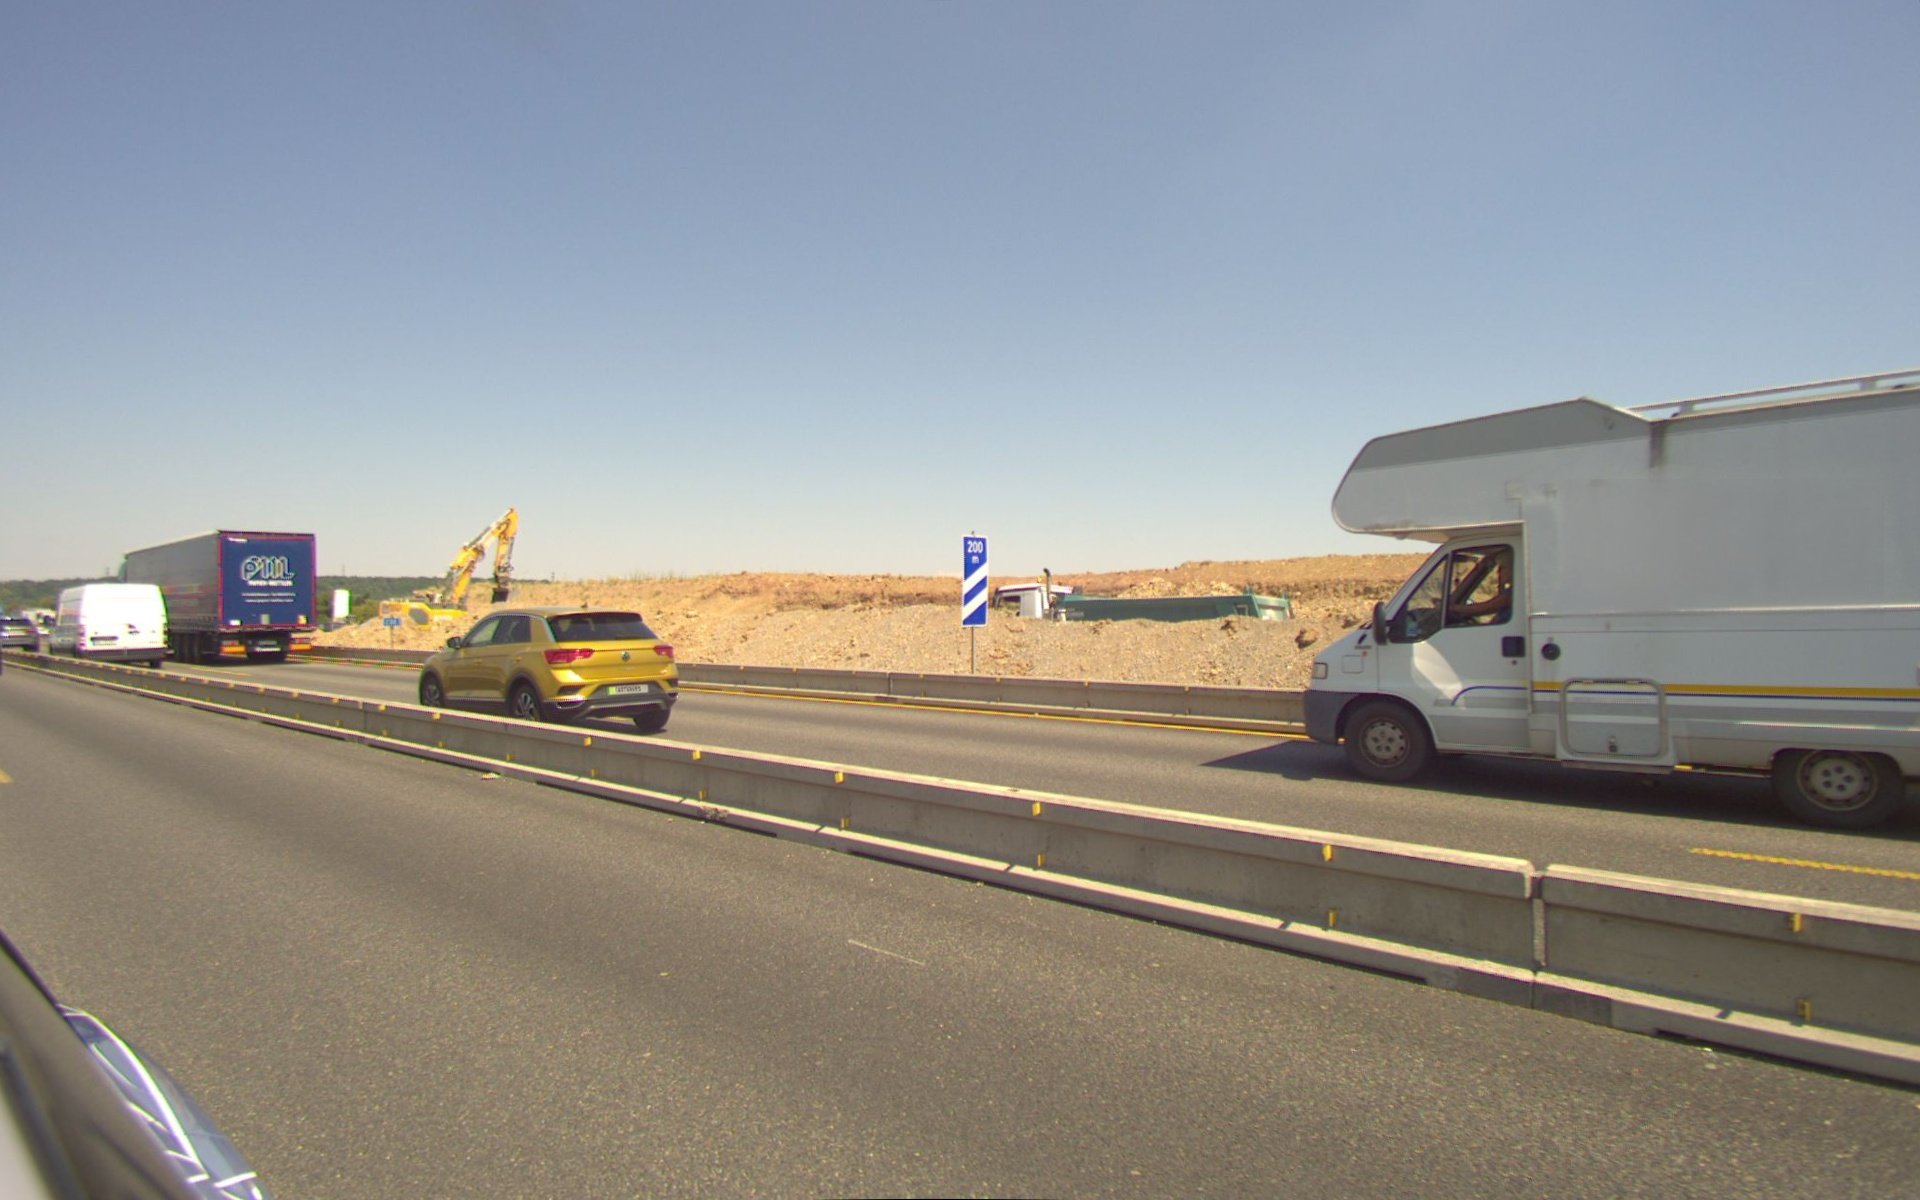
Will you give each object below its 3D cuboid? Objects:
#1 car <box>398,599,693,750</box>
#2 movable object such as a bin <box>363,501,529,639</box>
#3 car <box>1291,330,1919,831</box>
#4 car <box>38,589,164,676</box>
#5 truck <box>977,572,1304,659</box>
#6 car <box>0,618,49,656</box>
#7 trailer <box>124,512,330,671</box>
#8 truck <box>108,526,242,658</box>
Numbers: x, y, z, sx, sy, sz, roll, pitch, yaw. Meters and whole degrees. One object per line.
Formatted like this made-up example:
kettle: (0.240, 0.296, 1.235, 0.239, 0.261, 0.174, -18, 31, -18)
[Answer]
car: (-5.362, 0.825, 12.790, 4.361, 1.586, 1.743, -1, -1, 42)
movable object such as a bin: (-28.714, -1.575, 56.785, 4.079, 7.167, 7.284, -1, 0, 41)
car: (5.733, -0.118, 7.463, 5.846, 2.978, 2.228, -1, 0, 41)
car: (-25.997, 0.959, 30.529, 6.193, 2.361, 2.014, -2, -1, 41)
truck: (4.678, 0.396, 27.890, 8.796, 2.074, 2.536, -1, 0, 40)
car: (-43.783, 1.684, 46.836, 4.883, 1.641, 1.849, -1, 0, 41)
trailer: (-25.500, -0.202, 34.760, 12.878, 4.631, 2.954, -1, 0, 41)
truck: (-30.325, -0.266, 39.026, 6.241, 4.687, 2.934, -1, 0, 41)
